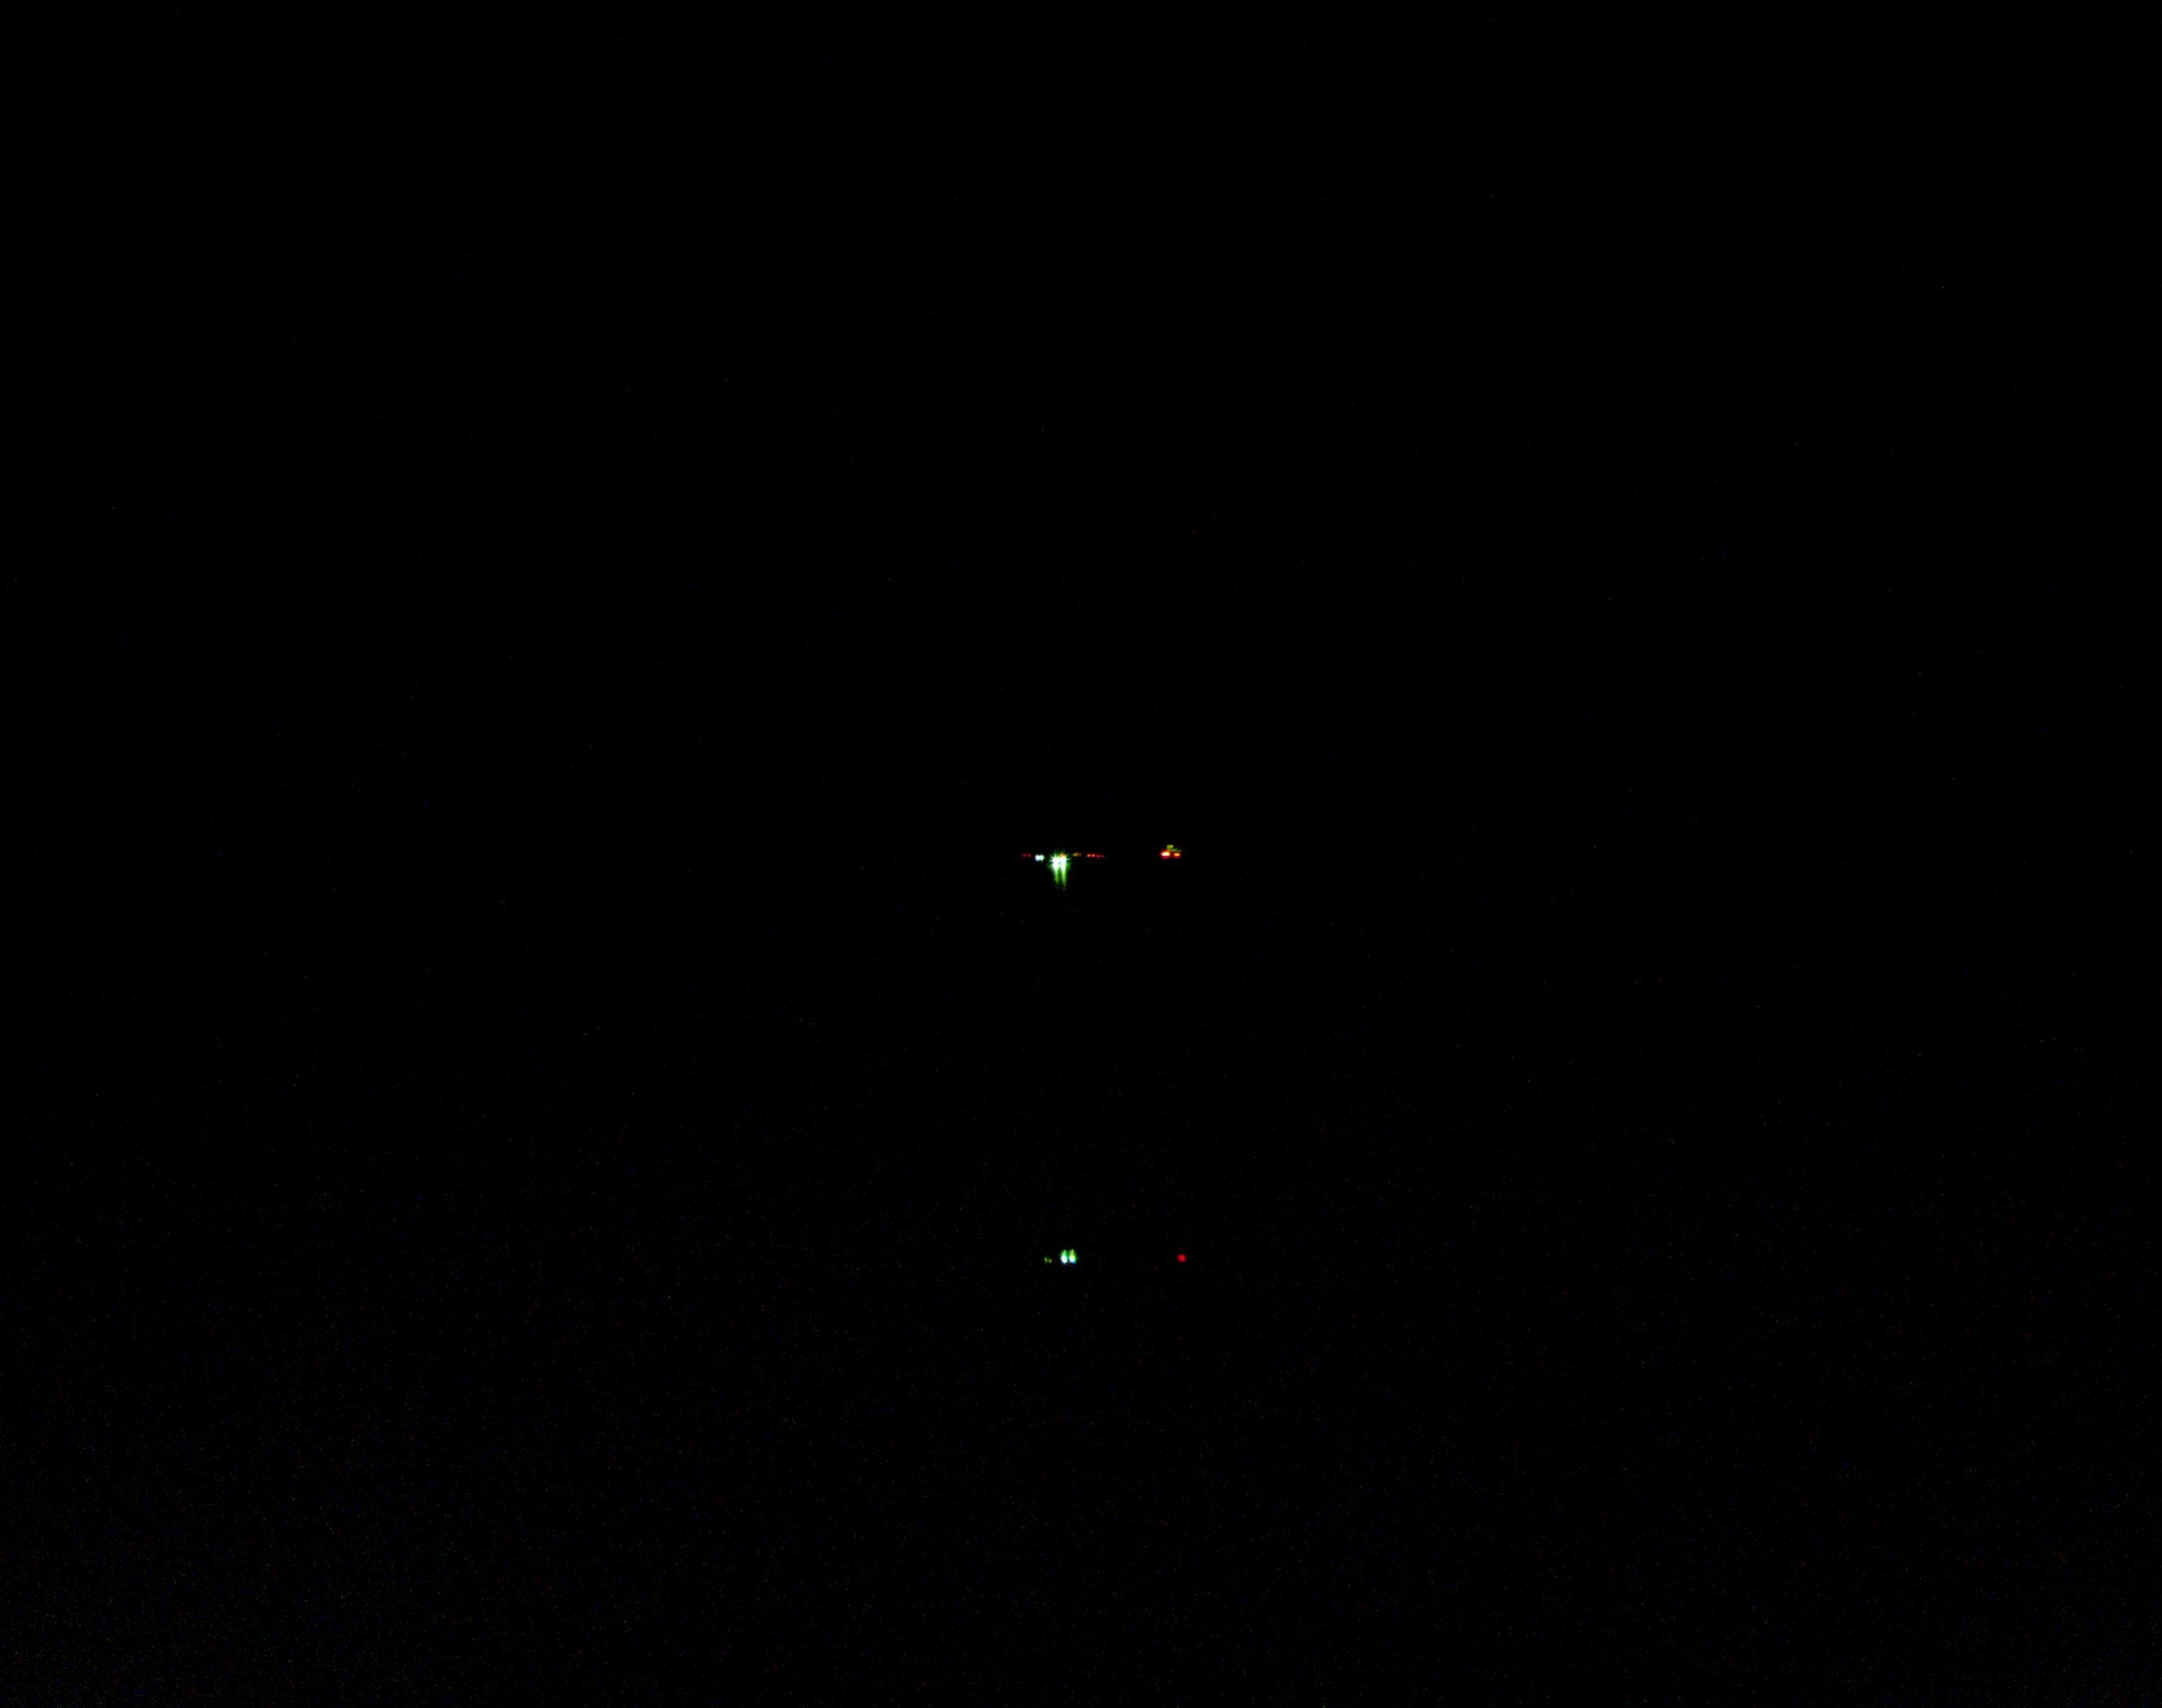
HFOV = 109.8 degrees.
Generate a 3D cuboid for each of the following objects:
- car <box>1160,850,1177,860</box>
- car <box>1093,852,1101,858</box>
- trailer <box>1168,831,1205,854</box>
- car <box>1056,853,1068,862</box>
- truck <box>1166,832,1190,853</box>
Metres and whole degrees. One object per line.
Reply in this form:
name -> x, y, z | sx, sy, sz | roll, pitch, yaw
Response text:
car -> 13.457, 0.111, 117.239 | 1.999, 1.460, 4.397 | -2, 1, -2
car -> 4.695, 0.256, 223.656 | 1.999, 1.776, 4.398 | -2, 1, -1
trailer -> 19.426, -2.053, 141.238 | 3.552, 3.977, 17.276 | -2, 1, -3
car -> -3.662, 0.662, 143.321 | 2.155, 1.558, 4.580 | -2, 1, -2
truck -> 19.024, -2.170, 149.663 | 3.512, 3.947, 6.696 | -2, 1, -3
